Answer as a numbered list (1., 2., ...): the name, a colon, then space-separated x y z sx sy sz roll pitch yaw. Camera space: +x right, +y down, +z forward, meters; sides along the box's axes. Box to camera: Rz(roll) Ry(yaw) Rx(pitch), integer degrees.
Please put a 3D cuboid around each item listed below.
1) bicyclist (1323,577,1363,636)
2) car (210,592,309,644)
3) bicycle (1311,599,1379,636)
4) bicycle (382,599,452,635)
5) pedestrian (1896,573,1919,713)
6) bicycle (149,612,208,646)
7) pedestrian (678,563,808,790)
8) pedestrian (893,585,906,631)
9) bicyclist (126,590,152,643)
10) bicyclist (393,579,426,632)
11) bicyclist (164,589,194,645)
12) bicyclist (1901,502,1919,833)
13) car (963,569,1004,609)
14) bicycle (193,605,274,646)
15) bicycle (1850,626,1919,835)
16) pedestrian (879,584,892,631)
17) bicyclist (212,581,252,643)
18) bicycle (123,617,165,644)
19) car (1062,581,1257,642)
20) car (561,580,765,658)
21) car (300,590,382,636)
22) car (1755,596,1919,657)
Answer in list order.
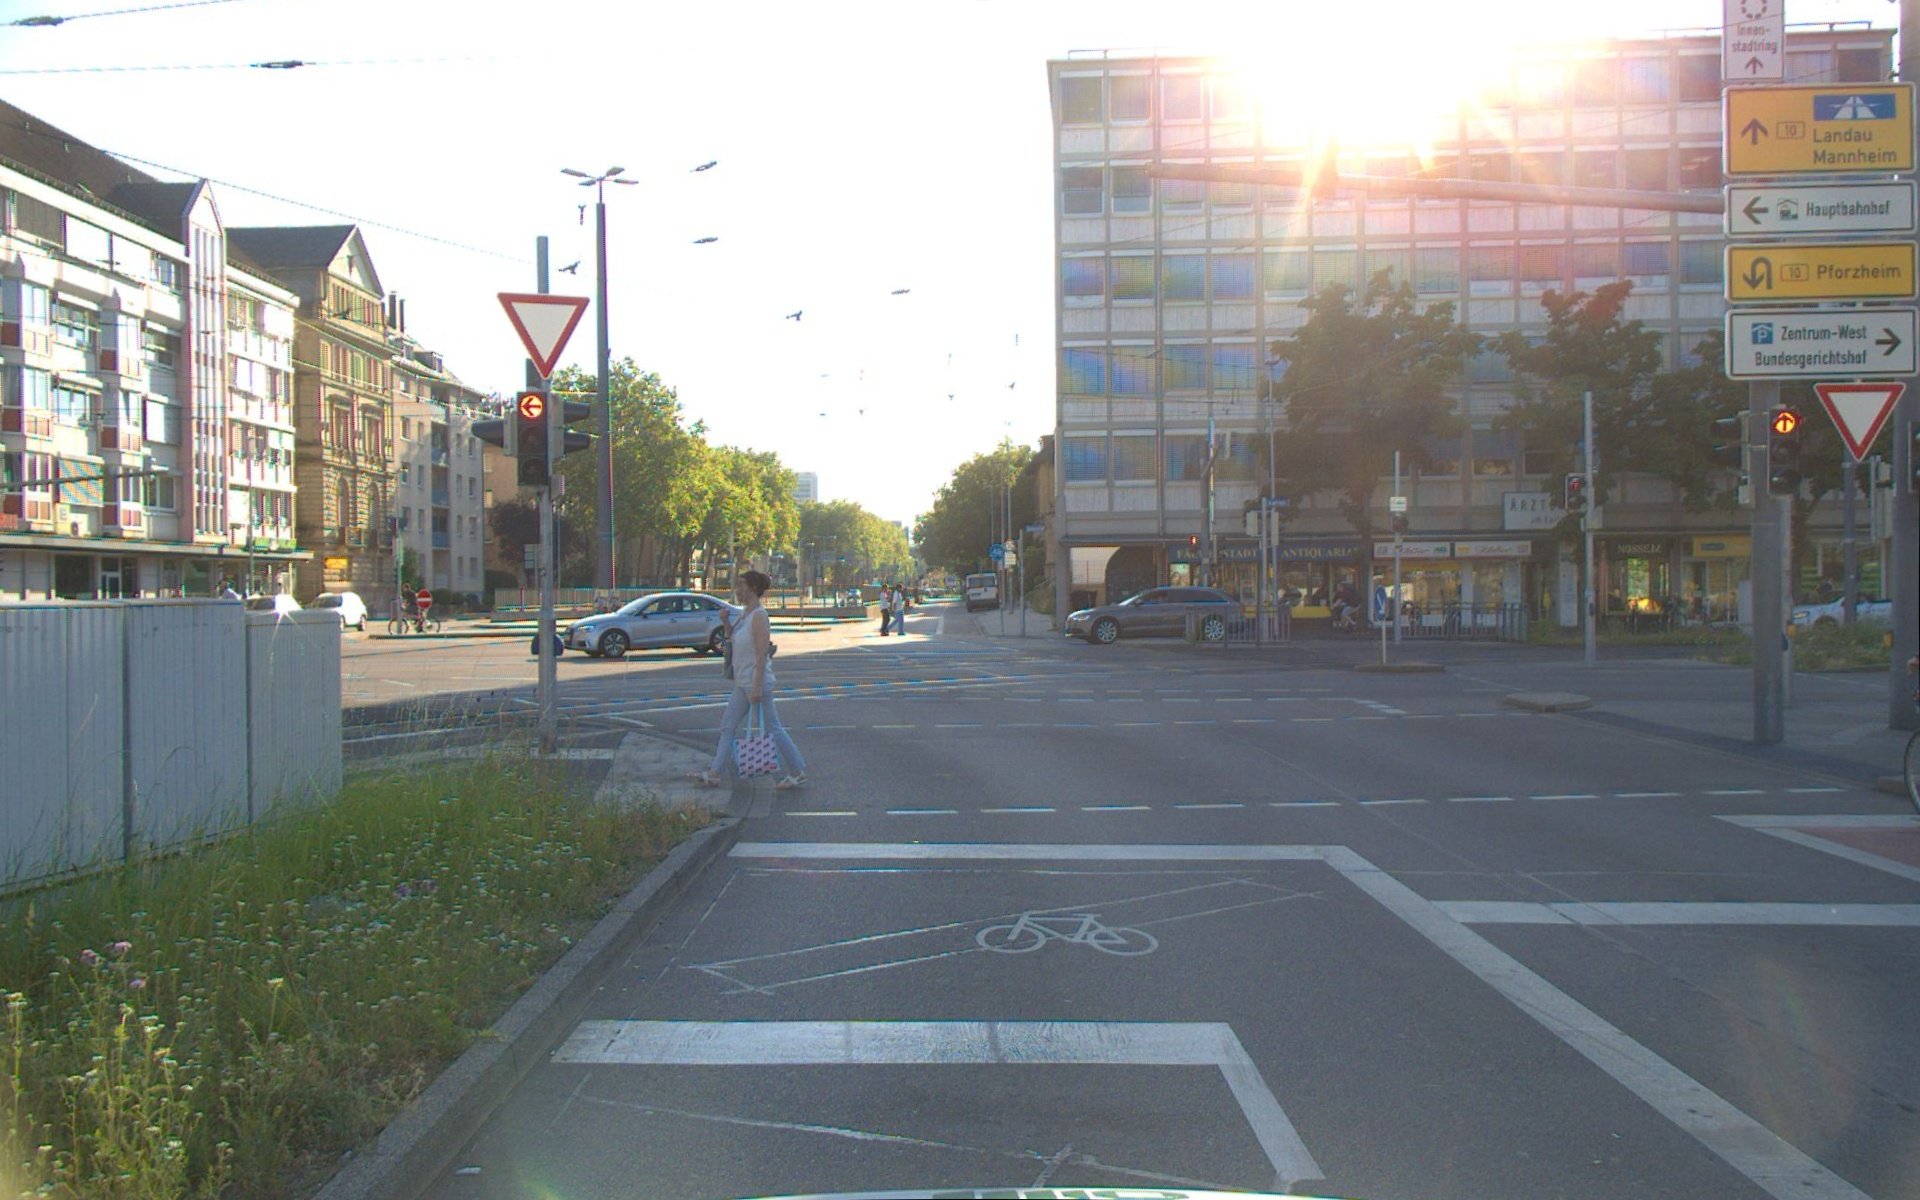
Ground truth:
1. bicyclist: 11.712 0.203 50.641 1.019 1.769 0.677 -1 0 -5
2. car: -26.859 0.655 63.554 1.952 1.892 4.001 -1 0 2
3. bicycle: 11.786 0.532 50.649 1.934 1.117 0.677 -1 0 -5
4. bicycle: -18.421 0.583 56.128 2.131 1.157 0.658 -1 0 -5
5. pedestrian: 11.559 0.493 19.316 0.861 1.625 0.655 -1 0 -3
6. bicycle: -28.722 1.055 60.772 1.919 1.222 0.610 -1 0 8
7. pedestrian: -1.597 0.548 12.269 0.860 1.625 0.655 -1 0 -1
8. pedestrian: -2.032 0.258 55.609 0.359 1.534 0.542 -1 0 -7
9. bicyclist: -29.858 0.588 60.142 0.580 1.894 0.642 -1 0 1
10. bicyclist: -18.662 0.179 56.101 0.881 1.783 0.650 -1 0 -5
11. bicyclist: -28.686 0.632 60.762 0.760 2.049 0.605 -1 0 9
12. bicyclist: 6.260 0.436 9.858 0.630 2.048 1.067 1 2 0
13. car: 1.501 -0.692 107.563 2.435 2.434 5.933 -2 0 -1
14. bicycle: -21.486 0.757 48.915 2.053 1.157 0.658 -1 0 -5
15. bicycle: 6.244 0.840 9.963 0.631 1.244 2.049 1 2 0
16. pedestrian: -2.438 0.237 54.261 0.359 1.534 0.542 -1 0 -7
17. bicyclist: -21.532 0.346 48.913 0.881 1.783 0.654 -1 0 -5
18. bicycle: -29.704 1.090 60.217 0.586 0.931 1.836 -1 0 1
19. car: 5.220 0.288 43.641 4.823 1.504 1.998 -1 0 -4
20. car: -6.872 0.409 38.257 4.277 1.624 1.984 -1 0 -25
21. car: -26.876 0.536 71.943 1.952 1.892 4.001 -1 0 2
22. car: 23.889 0.683 43.661 4.818 1.504 2.000 -1 0 1
